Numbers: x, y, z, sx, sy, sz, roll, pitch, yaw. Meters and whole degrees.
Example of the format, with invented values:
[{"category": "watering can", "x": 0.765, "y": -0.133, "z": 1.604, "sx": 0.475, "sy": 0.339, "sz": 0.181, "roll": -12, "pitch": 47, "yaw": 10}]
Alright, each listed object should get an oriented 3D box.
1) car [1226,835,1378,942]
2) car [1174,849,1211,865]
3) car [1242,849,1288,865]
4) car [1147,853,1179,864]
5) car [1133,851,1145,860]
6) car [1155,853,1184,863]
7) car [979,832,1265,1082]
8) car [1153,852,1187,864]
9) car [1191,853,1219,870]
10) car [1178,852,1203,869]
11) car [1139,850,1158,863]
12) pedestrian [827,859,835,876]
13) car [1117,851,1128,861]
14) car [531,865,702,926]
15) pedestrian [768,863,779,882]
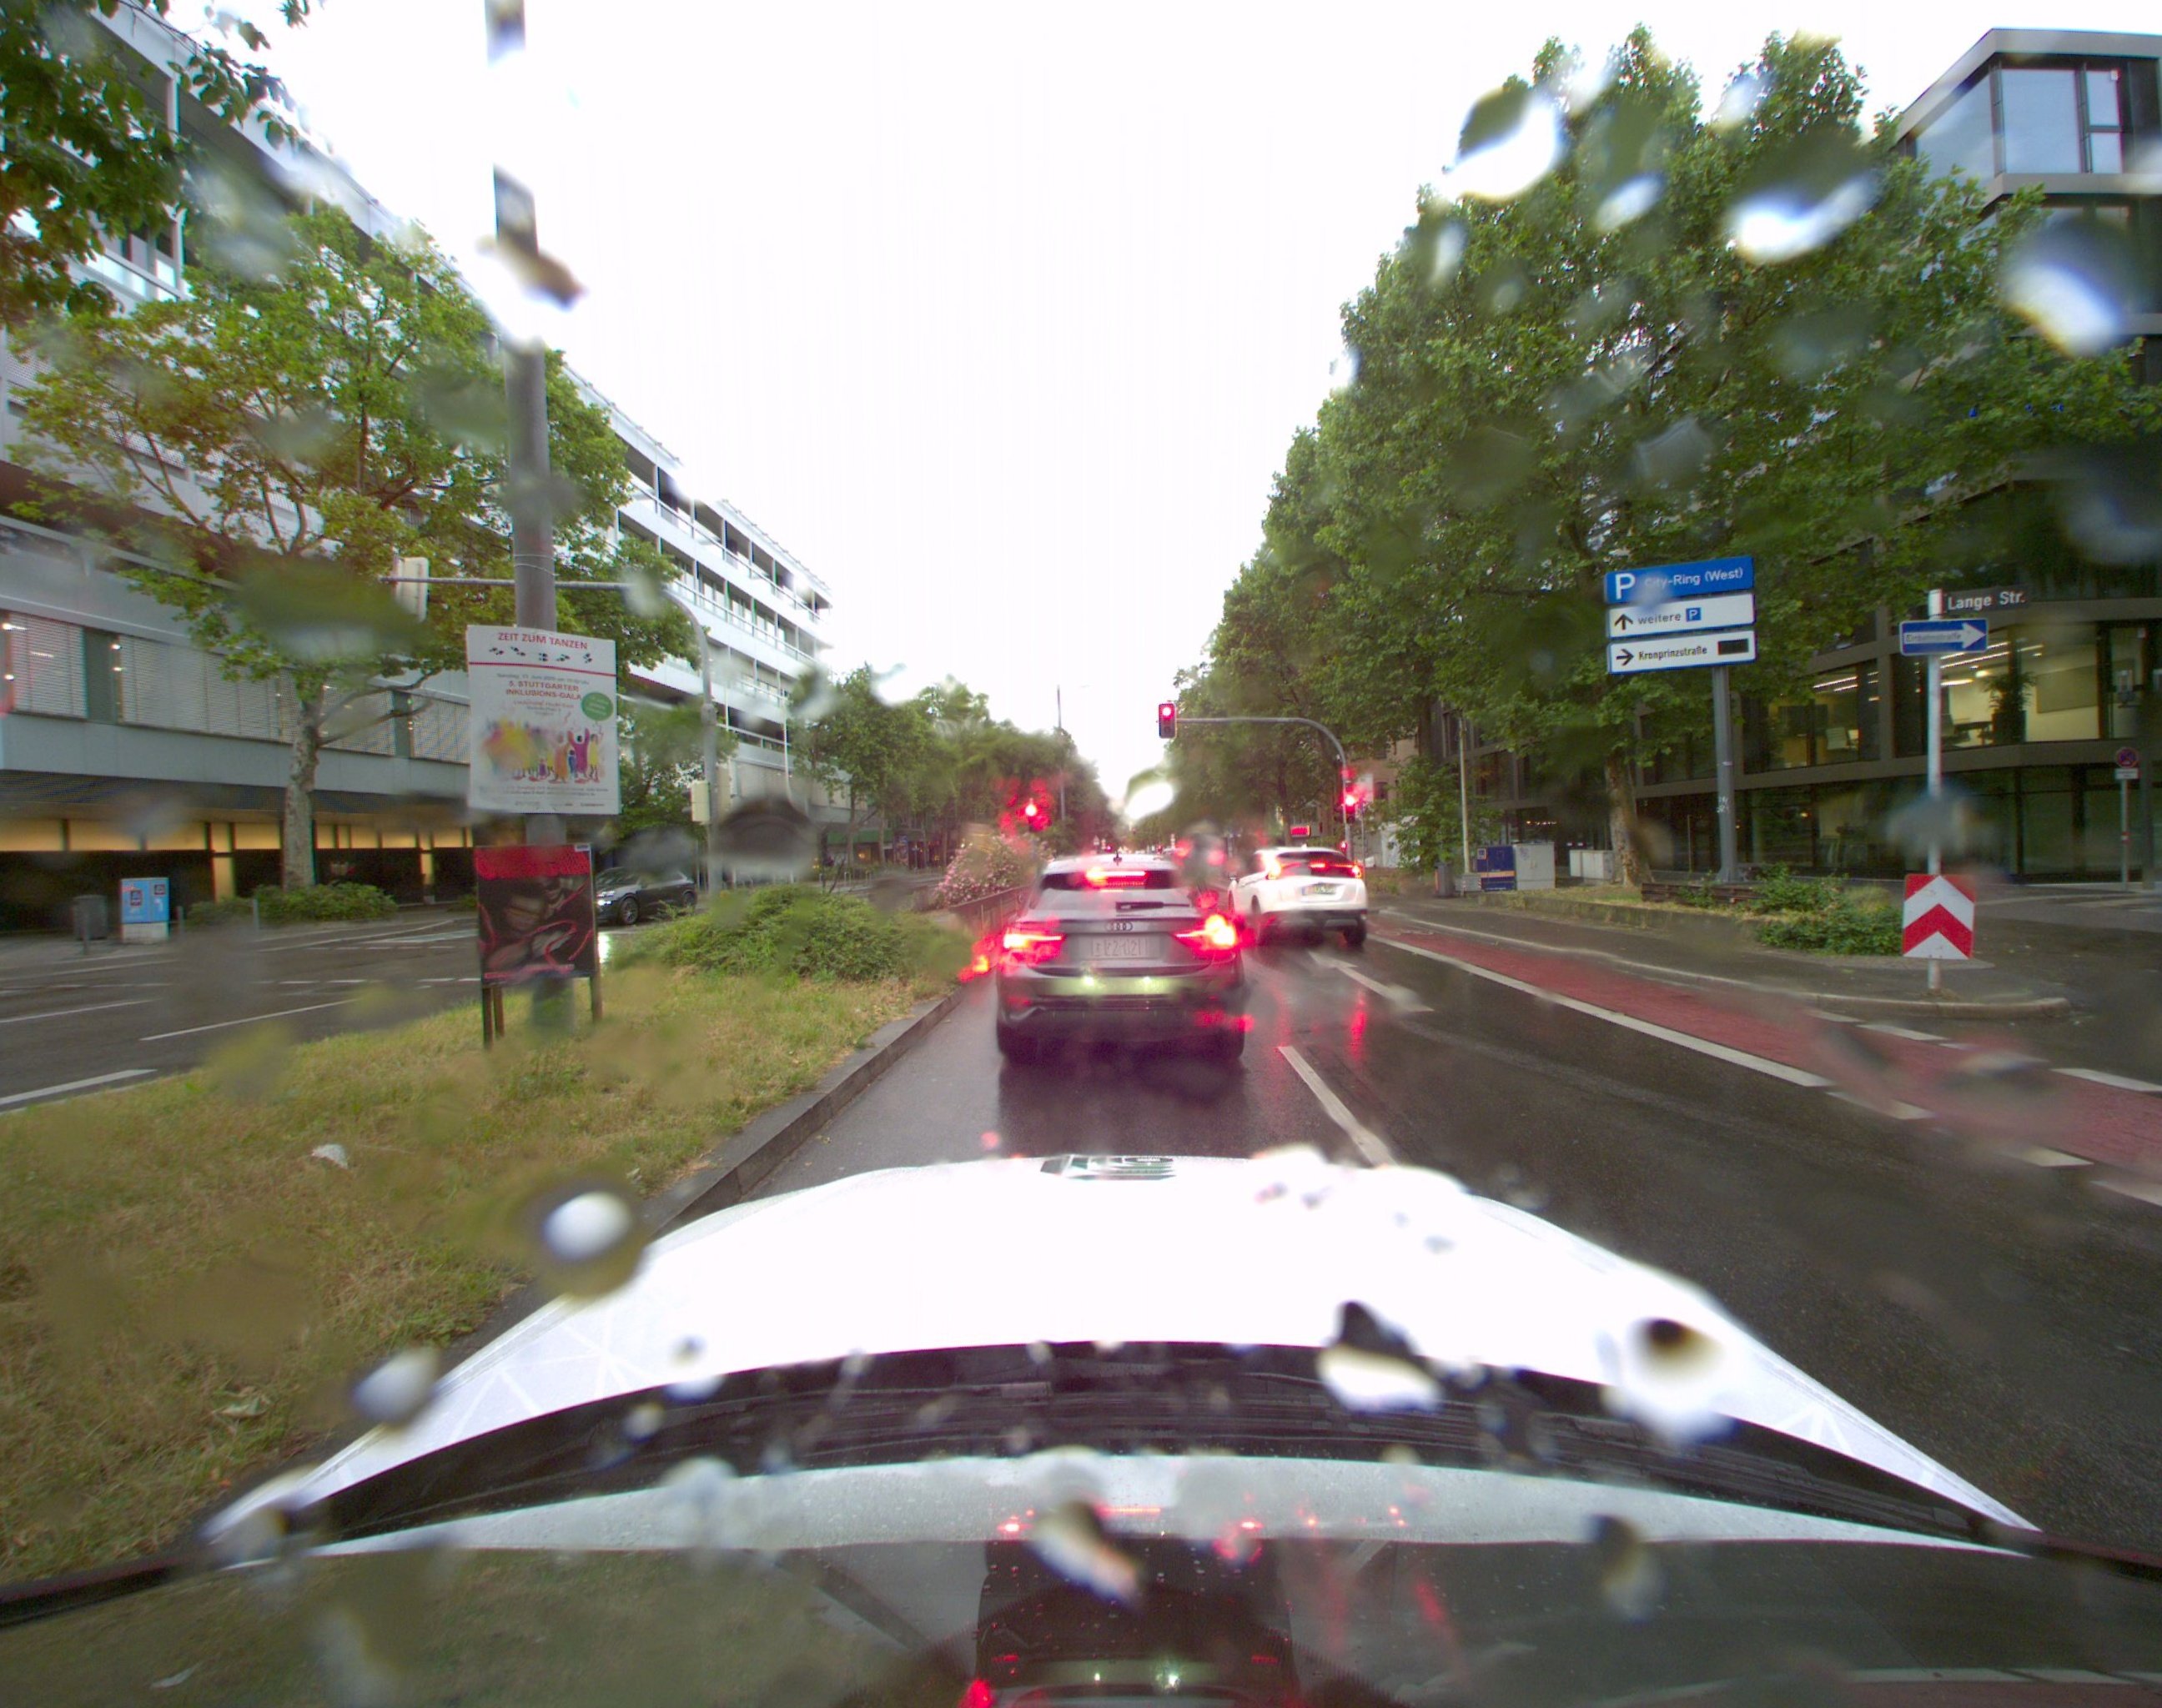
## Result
[{"category": "car", "x": 3.870, "y": 0.573, "z": 14.987, "sx": 1.870, "sy": 1.697, "sz": 4.002, "roll": 0, "pitch": -1, "yaw": 3}, {"category": "car", "x": 14.943, "y": 0.433, "z": 108.813, "sx": 4.548, "sy": 2.014, "sz": 1.980, "roll": -1, "pitch": -1, "yaw": 41}, {"category": "car", "x": 13.226, "y": 0.214, "z": 58.463, "sx": 2.856, "sy": 1.074, "sz": 1.465, "roll": -1, "pitch": -1, "yaw": 33}, {"category": "car", "x": 12.909, "y": 0.672, "z": 127.876, "sx": 4.594, "sy": 1.706, "sz": 2.012, "roll": -1, "pitch": -1, "yaw": 30}, {"category": "car", "x": 10.629, "y": 0.251, "z": 149.350, "sx": 1.985, "sy": 1.651, "sz": 4.003, "roll": 0, "pitch": -1, "yaw": 3}, {"category": "car", "x": 15.292, "y": 0.710, "z": 140.451, "sx": 4.594, "sy": 1.706, "sz": 2.012, "roll": -1, "pitch": -1, "yaw": 30}, {"category": "car", "x": 0.329, "y": 0.685, "z": 7.353, "sx": 1.842, "sy": 1.602, "sz": 4.001, "roll": -1, "pitch": 0, "yaw": 2}, {"category": "car", "x": 13.443, "y": 0.620, "z": 123.071, "sx": 4.594, "sy": 1.706, "sz": 2.012, "roll": -1, "pitch": -1, "yaw": 30}, {"category": "car", "x": 10.412, "y": 0.627, "z": 68.439, "sx": 1.865, "sy": 1.421, "sz": 4.614, "roll": 0, "pitch": 0, "yaw": 3}, {"category": "car", "x": 10.611, "y": 0.606, "z": 79.214, "sx": 1.723, "sy": 1.571, "sz": 4.070, "roll": 0, "pitch": -1, "yaw": -2}, {"category": "car", "x": 8.878, "y": 0.372, "z": 107.000, "sx": 1.989, "sy": 1.726, "sz": 3.996, "roll": 0, "pitch": -1, "yaw": -3}, {"category": "pedestrian", "x": -21.881, "y": 1.208, "z": 71.256, "sx": 0.613, "sy": 1.482, "sz": 0.570, "roll": 0, "pitch": -1, "yaw": -27}, {"category": "car", "x": 7.332, "y": 0.354, "z": 144.573, "sx": 1.889, "sy": 1.599, "sz": 3.940, "roll": 0, "pitch": -1, "yaw": 2}, {"category": "car", "x": -13.346, "y": 1.139, "z": 23.827, "sx": 1.900, "sy": 1.584, "sz": 4.754, "roll": 0, "pitch": -1, "yaw": 6}, {"category": "pedestrian", "x": -22.063, "y": 1.329, "z": 58.475, "sx": 0.637, "sy": 1.380, "sz": 0.473, "roll": 0, "pitch": -1, "yaw": -9}]
